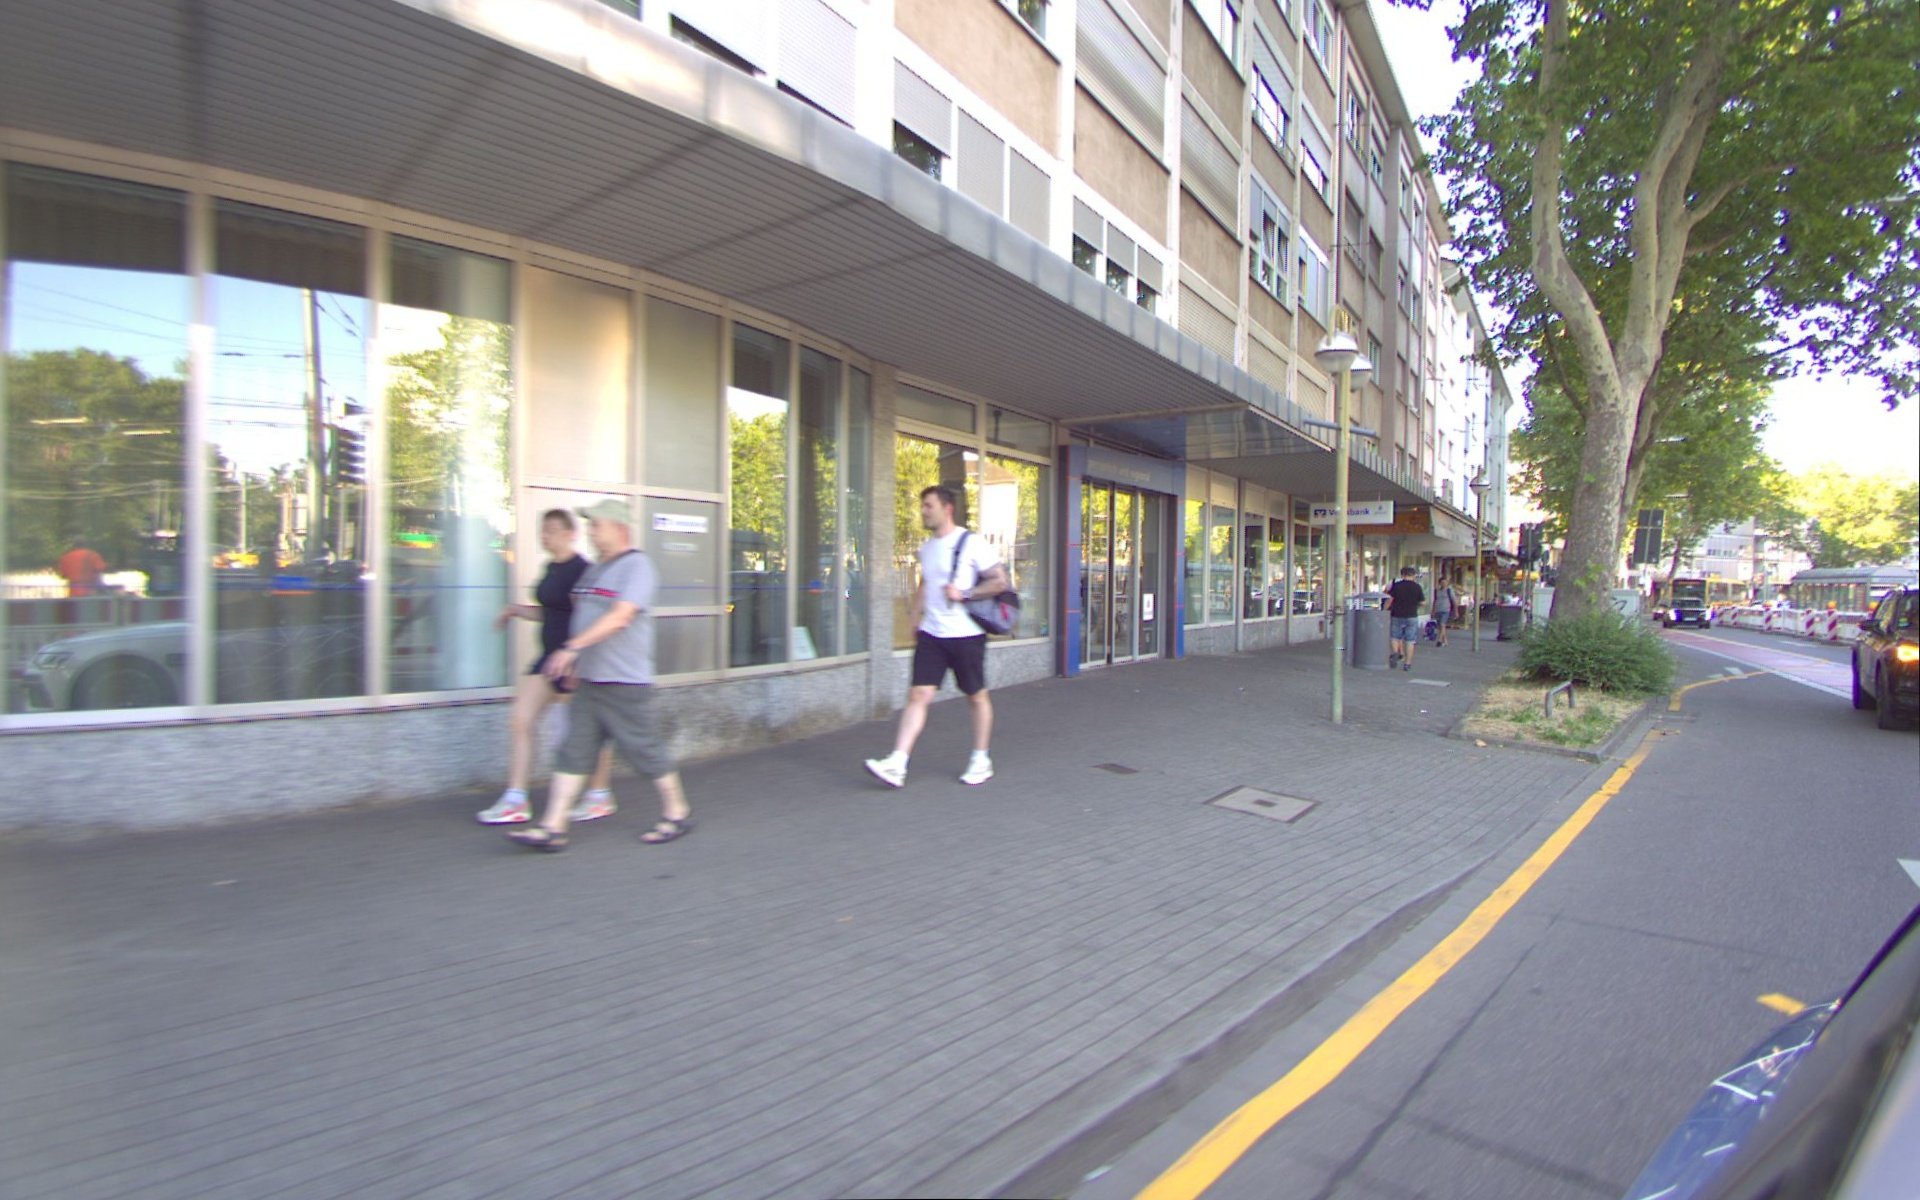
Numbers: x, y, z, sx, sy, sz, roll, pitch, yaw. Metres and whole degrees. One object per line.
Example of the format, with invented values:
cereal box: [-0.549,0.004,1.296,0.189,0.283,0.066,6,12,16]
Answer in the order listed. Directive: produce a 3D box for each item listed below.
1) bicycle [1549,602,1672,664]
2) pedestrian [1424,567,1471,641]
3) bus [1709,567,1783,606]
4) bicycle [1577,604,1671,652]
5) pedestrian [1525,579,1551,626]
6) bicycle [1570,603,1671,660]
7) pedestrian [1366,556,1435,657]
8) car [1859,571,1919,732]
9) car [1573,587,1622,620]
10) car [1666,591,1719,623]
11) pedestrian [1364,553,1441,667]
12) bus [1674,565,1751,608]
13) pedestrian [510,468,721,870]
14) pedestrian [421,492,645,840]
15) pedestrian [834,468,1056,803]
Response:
bicycle: [12.863,0.635,20.095,1.977,1.071,0.762,3,2,30]
pedestrian: [11.614,0.086,24.087,0.840,1.694,0.979,3,2,32]
bus: [69.419,-1.141,89.233,12.143,3.248,2.736,0,-1,-40]
bicycle: [15.723,0.648,24.025,1.780,1.034,0.637,3,2,30]
pedestrian: [20.903,0.090,36.615,0.636,1.694,0.555,0,0,3]
bicycle: [13.797,0.635,21.163,1.708,1.071,0.636,3,2,35]
pedestrian: [8.041,0.101,18.455,0.895,1.717,1.058,5,3,32]
car: [11.849,0.520,11.617,1.989,1.668,4.147,0,0,38]
car: [34.146,0.160,54.292,1.907,1.617,4.742,2,2,29]
car: [38.632,0.364,53.476,1.985,1.605,4.563,0,-1,33]
pedestrian: [7.266,0.142,16.604,0.896,1.731,1.058,6,3,32]
bus: [61.093,-1.019,82.031,12.097,3.248,2.734,0,-1,-43]
pedestrian: [-1.619,0.278,4.786,0.580,1.729,0.671,4,2,32]
pedestrian: [-2.156,0.290,5.147,0.630,1.593,0.765,4,2,32]
pedestrian: [-0.073,0.178,6.447,0.834,1.892,1.087,6,3,32]
